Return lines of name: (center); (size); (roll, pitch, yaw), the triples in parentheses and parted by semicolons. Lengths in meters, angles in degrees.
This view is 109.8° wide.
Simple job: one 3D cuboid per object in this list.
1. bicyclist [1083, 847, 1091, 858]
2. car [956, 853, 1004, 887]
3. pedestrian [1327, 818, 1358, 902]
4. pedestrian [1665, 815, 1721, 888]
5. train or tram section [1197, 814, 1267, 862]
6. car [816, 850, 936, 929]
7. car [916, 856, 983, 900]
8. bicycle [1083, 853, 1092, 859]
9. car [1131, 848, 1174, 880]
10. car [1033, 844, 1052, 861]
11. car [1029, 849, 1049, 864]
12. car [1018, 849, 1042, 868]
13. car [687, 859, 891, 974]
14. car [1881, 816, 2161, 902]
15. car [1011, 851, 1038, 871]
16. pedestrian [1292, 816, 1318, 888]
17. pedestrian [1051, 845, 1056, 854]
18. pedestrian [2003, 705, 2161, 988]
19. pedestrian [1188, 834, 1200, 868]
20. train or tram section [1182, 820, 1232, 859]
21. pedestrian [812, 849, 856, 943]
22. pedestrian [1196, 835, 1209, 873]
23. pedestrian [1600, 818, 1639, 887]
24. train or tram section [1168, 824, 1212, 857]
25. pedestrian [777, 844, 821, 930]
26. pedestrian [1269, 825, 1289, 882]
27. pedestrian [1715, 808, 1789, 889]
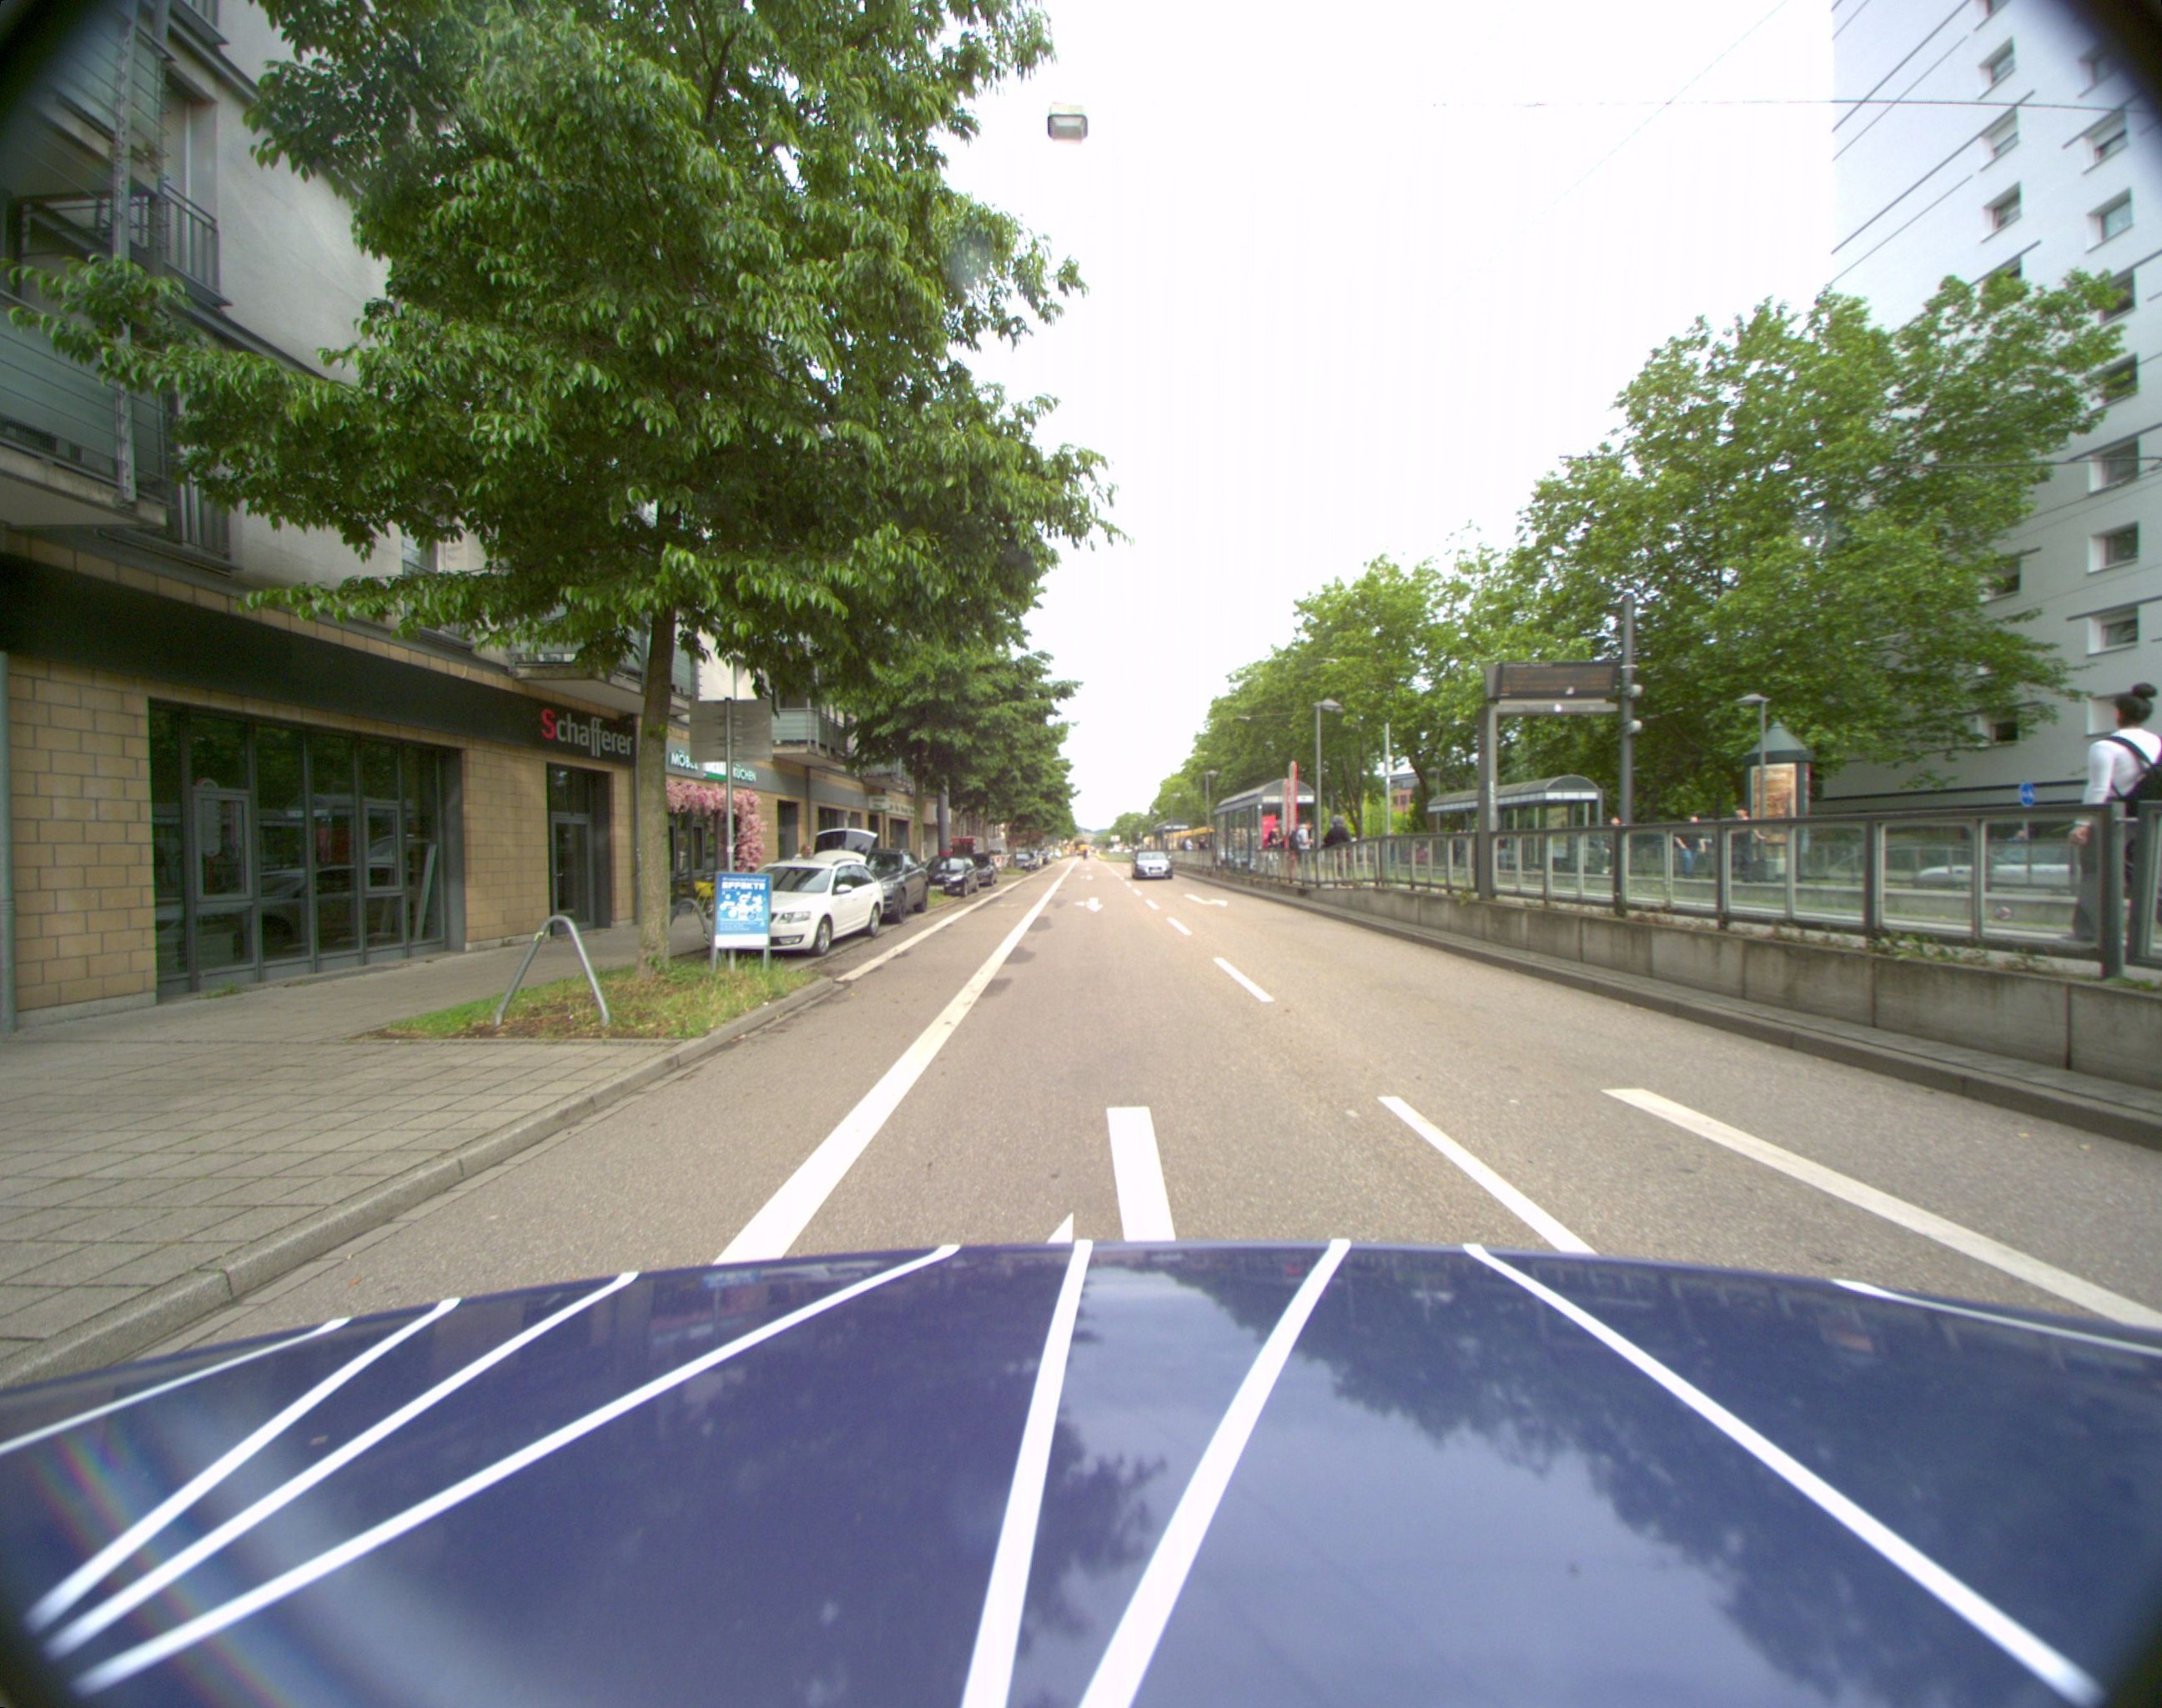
bicyclist: (0.844, -0.196, 104.377); (0.727, 1.458, 0.811); (-2, 1, -25)
car: (-4.555, 0.686, 34.744); (1.612, 1.393, 3.667); (2, 1, 1)
pedestrian: (5.707, 0.122, 16.586); (0.521, 1.794, 0.605); (-2, 1, 13)
pedestrian: (15.785, -0.057, 19.616); (0.882, 1.823, 0.666); (-2, 1, 1)
train or tram section: (13.327, -1.384, 68.744); (3.338, 3.731, 15.201); (-2, 1, 1)
car: (-4.714, 0.744, 18.011); (1.738, 1.601, 3.798); (2, 1, 1)
car: (-4.636, 0.796, 27.283); (1.612, 1.370, 4.167); (2, 1, 1)
bicycle: (0.889, 0.278, 104.366); (0.492, 0.925, 1.778); (-3, 1, -25)
car: (3.423, 0.463, 36.859); (1.716, 1.379, 4.099); (-2, 1, 1)
car: (-3.961, -0.140, 78.228); (1.612, 1.674, 3.806); (2, 1, 1)
car: (-3.968, 0.210, 72.458); (1.612, 1.393, 3.667); (2, 1, 1)
car: (-4.123, 0.366, 62.171); (1.612, 1.393, 3.667); (2, 1, 1)
car: (-4.718, 0.903, 13.008); (1.738, 1.512, 4.308); (2, 1, 1)
car: (20.012, 0.053, 15.952); (1.935, 1.543, 3.995); (-2, 1, -13)
car: (-4.162, 0.480, 56.272); (1.612, 1.393, 3.667); (2, 1, 1)
pedestrian: (5.749, -0.061, 19.489); (0.475, 1.794, 0.605); (-2, 1, 5)
pedestrian: (-6.235, -1.100, 173.065); (1.216, 2.002, 1.142); (-1, 1, 1)
pedestrian: (6.703, -0.056, 4.733); (0.720, 1.661, 0.979); (-2, 1, 3)
pedestrian: (6.142, -0.176, 41.347); (0.530, 1.794, 0.606); (-2, 1, 14)
train or tram section: (13.499, -1.547, 82.655); (3.338, 3.731, 12.547); (-2, 1, 1)
pedestrian: (-5.014, 0.833, 15.468); (0.656, 1.873, 0.599); (-1, 1, 1)
pedestrian: (5.849, 0.001, 36.530); (0.530, 1.794, 0.606); (-2, 1, 14)
pedestrian: (15.411, -0.051, 21.762); (0.699, 1.919, 0.554); (-2, 1, 1)
train or tram section: (13.722, -1.718, 97.104); (3.338, 3.731, 16.247); (-2, 1, 1)
pedestrian: (-5.756, 0.657, 15.554); (0.738, 1.707, 0.617); (0, 1, -10)
pedestrian: (6.314, -0.026, 24.206); (0.474, 1.794, 0.606); (-2, 1, 26)
pedestrian: (15.060, -0.118, 17.070); (0.882, 1.746, 0.850); (-2, 1, 1)
